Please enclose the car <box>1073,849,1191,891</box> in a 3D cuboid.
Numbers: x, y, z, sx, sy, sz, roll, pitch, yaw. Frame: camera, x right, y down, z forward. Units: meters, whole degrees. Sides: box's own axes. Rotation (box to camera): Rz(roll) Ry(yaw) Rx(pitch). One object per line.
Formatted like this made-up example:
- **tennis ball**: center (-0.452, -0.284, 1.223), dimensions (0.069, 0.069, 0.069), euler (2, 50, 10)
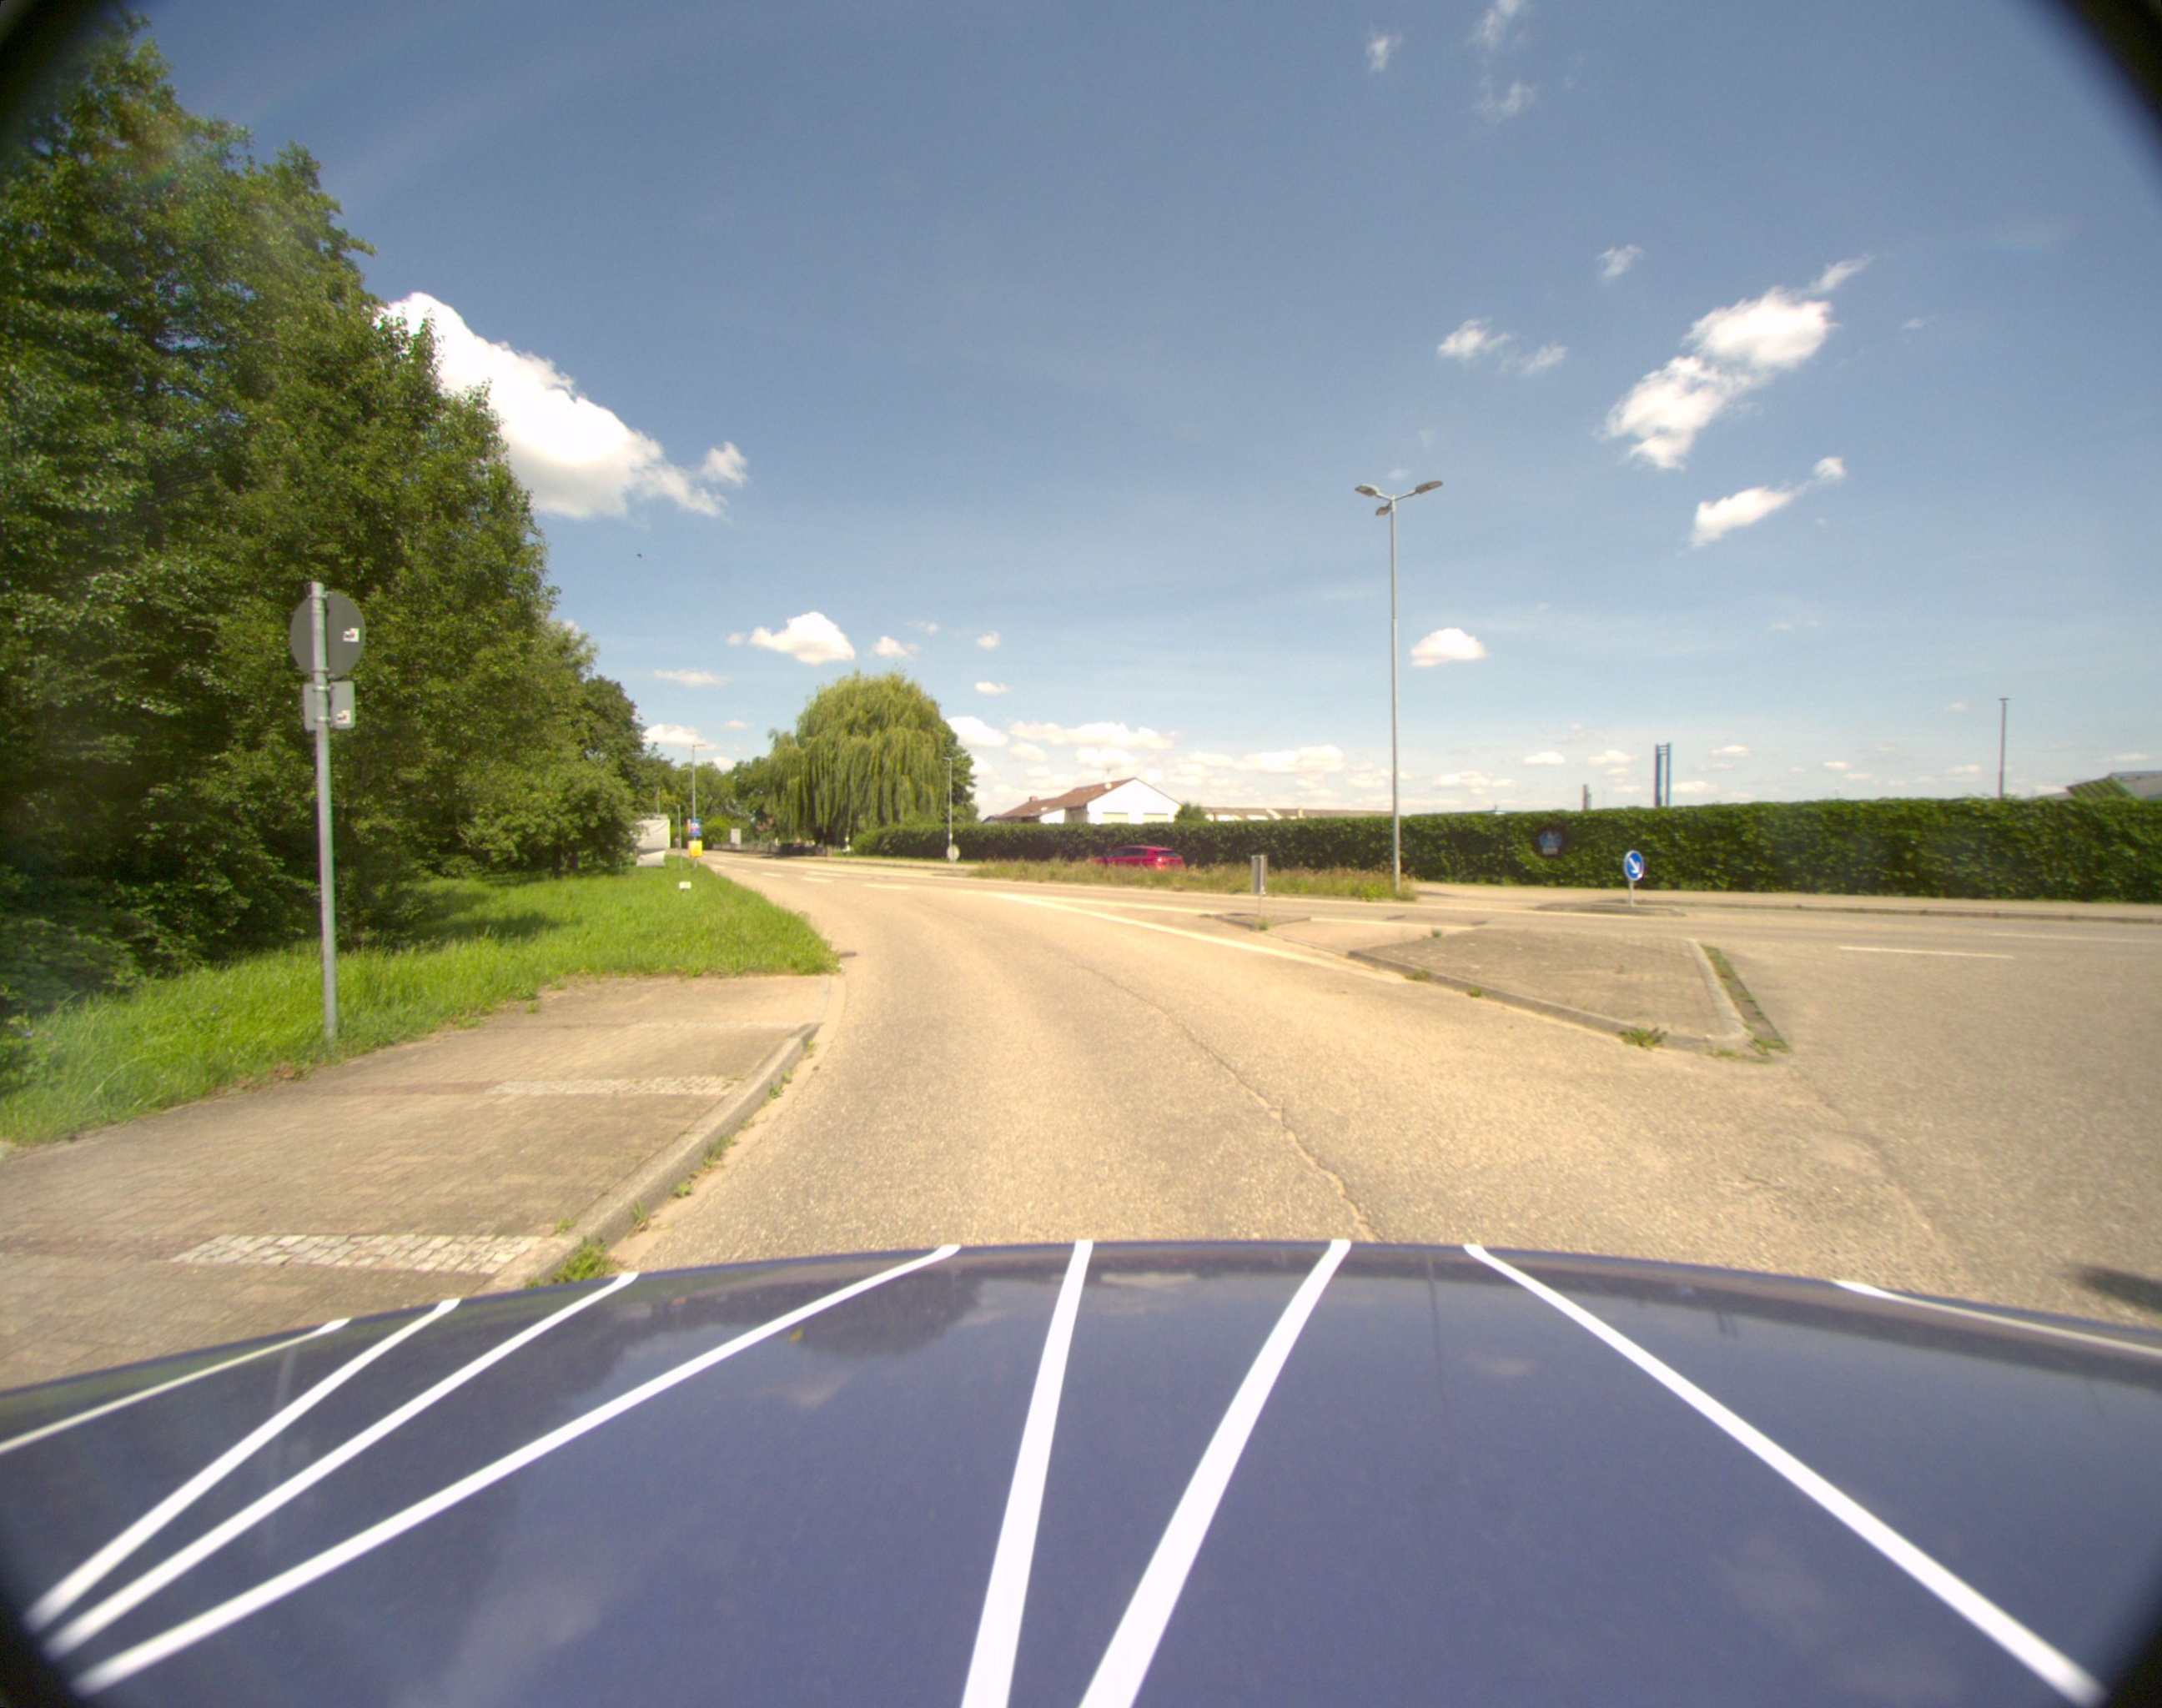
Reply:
- **car**: center (1.917, 0.567, 29.474), dimensions (4.373, 1.455, 1.890), euler (1, 1, 43)
